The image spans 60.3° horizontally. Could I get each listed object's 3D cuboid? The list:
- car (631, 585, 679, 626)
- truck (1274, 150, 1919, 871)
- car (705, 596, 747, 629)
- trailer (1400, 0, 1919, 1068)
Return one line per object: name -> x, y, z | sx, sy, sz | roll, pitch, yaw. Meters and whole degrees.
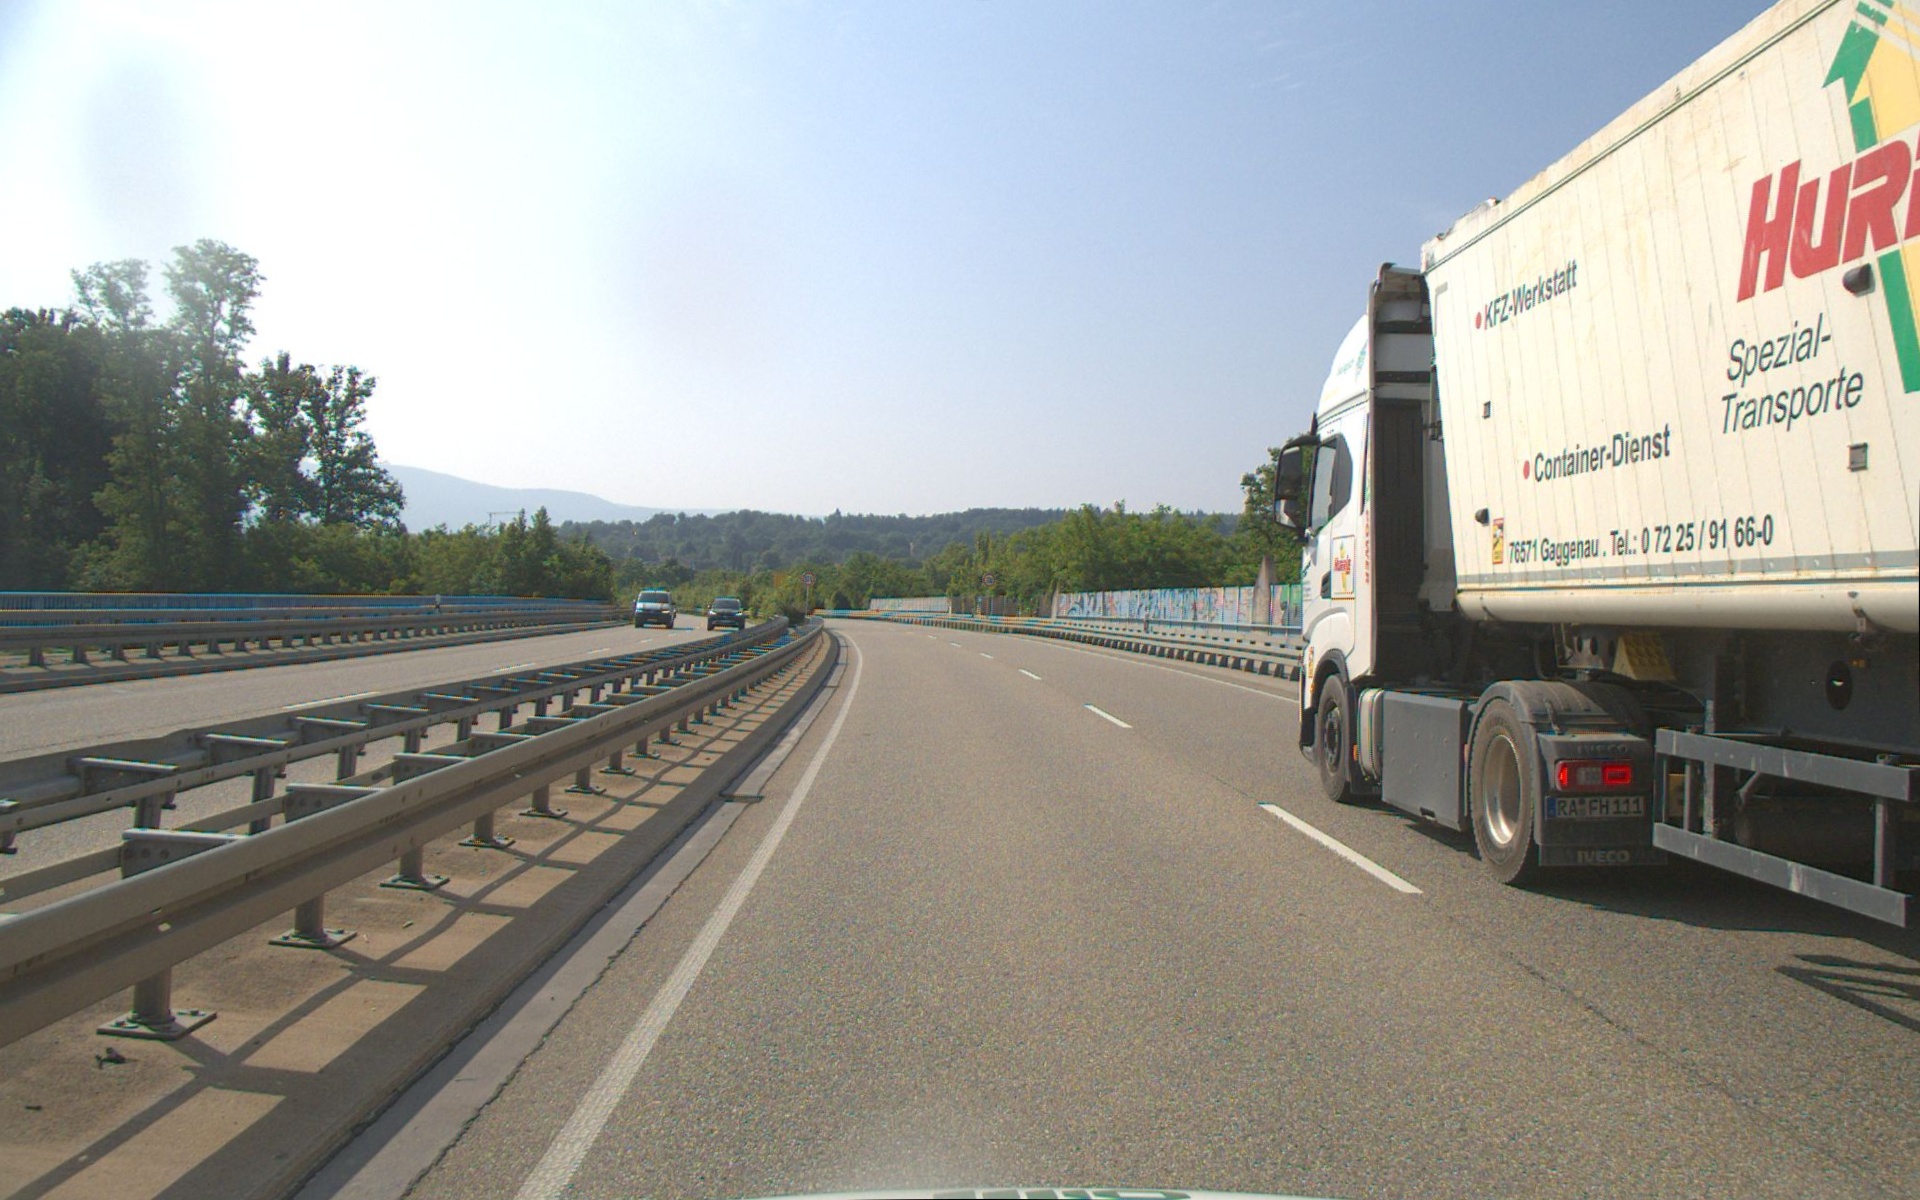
car -> -16.248, 0.262, 88.323 | 1.999, 2.041, 5.301 | 2, 0, -6
truck -> 4.195, -0.478, 12.030 | 2.605, 3.964, 5.646 | 1, 0, -1
car -> -12.239, 0.630, 86.764 | 1.828, 1.635, 4.414 | 2, 0, -4
trailer -> 4.320, -0.503, 6.021 | 2.625, 3.975, 9.669 | 1, 0, -1
